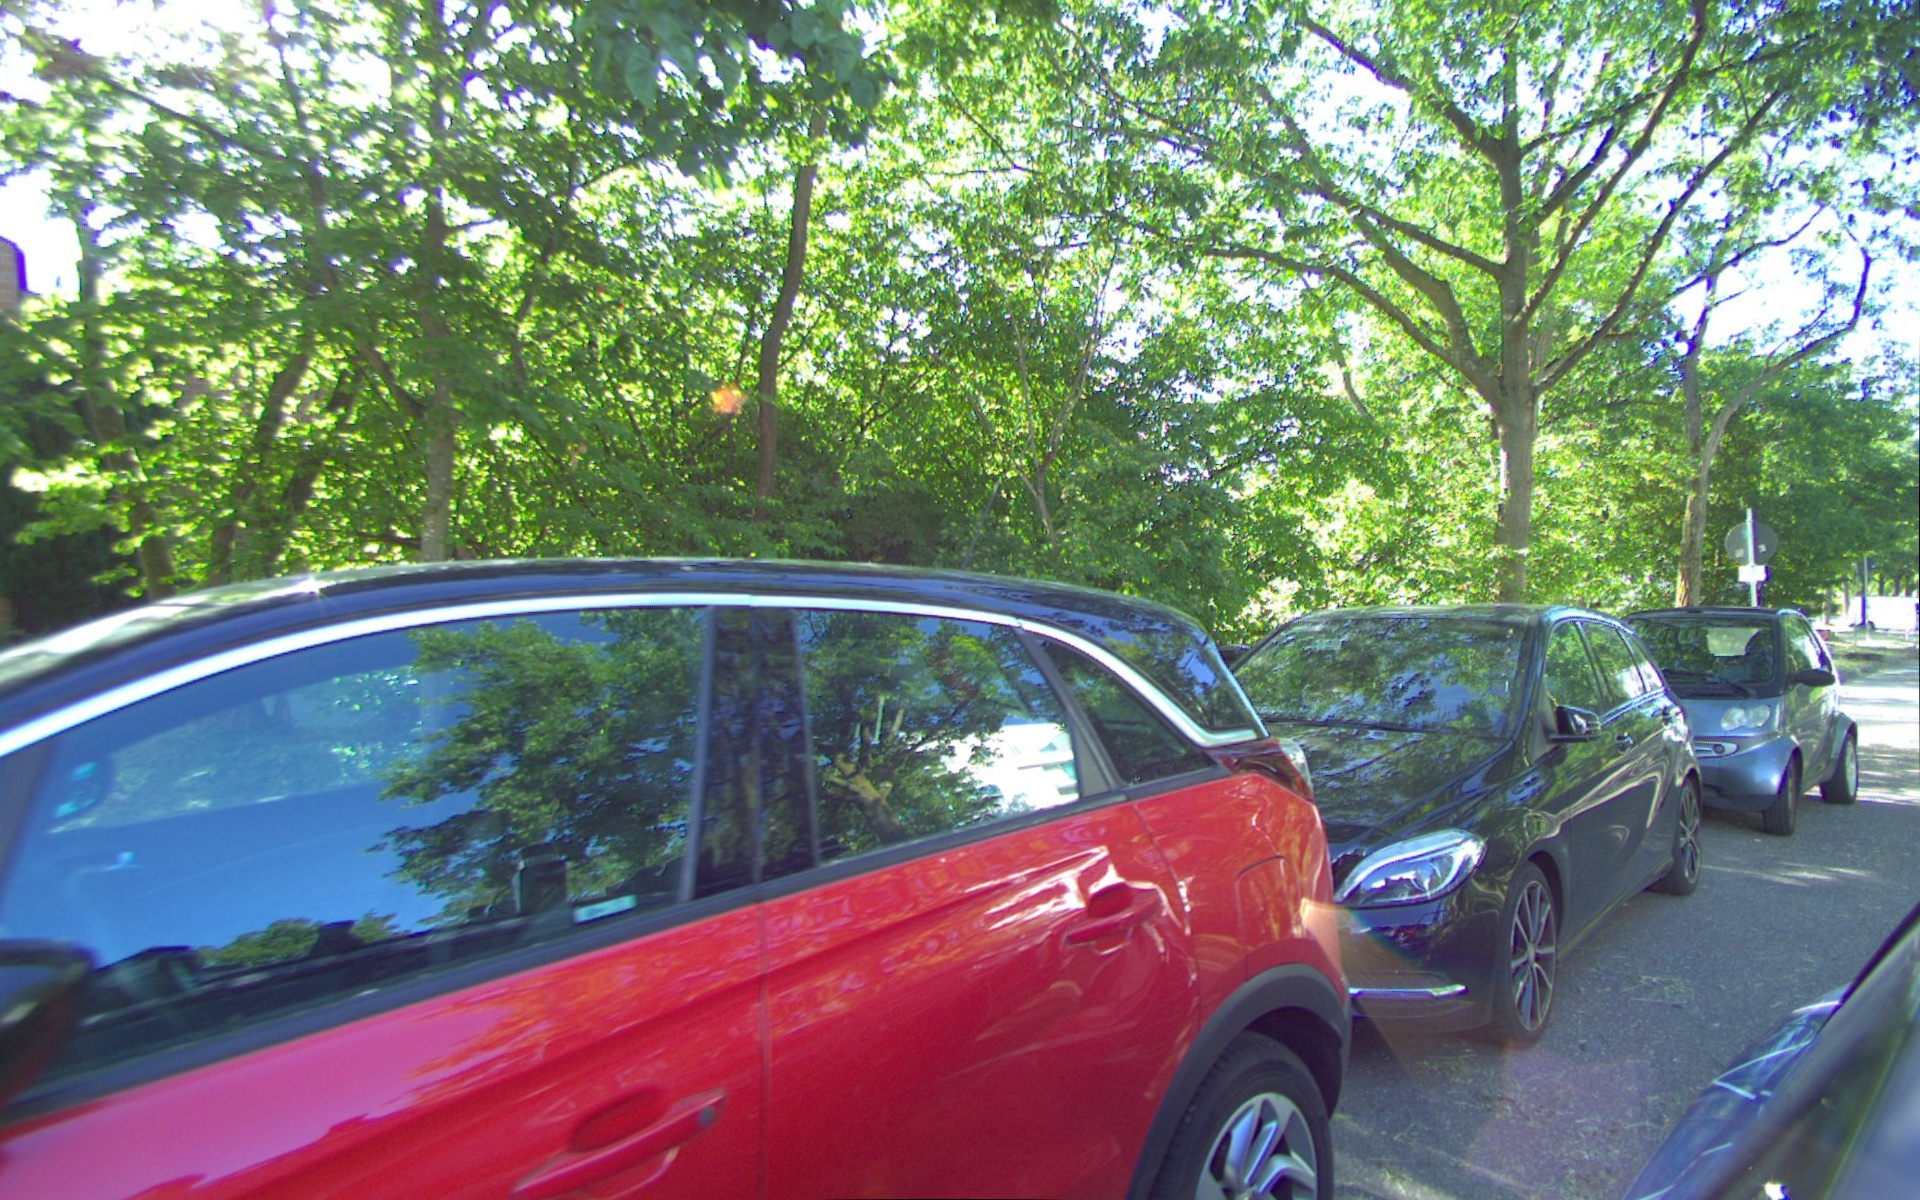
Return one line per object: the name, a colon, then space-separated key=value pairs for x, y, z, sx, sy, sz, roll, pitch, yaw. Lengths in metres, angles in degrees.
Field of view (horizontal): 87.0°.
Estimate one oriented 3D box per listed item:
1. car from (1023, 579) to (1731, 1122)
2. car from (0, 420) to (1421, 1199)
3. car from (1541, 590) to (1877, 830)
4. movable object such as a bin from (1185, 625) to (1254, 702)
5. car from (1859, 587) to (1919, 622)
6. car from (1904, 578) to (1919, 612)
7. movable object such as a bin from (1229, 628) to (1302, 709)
car: x=2.304 y=0.719 z=4.916 sx=4.081 sy=1.528 sz=1.713 roll=0 pitch=-1 yaw=-44
car: x=-0.996 y=0.665 z=1.684 sx=3.994 sy=1.594 sz=1.681 roll=0 pitch=-1 yaw=-41
car: x=5.881 y=0.713 z=7.895 sx=2.628 sy=1.529 sz=1.497 roll=0 pitch=-1 yaw=-39
movable object such as a bin: x=3.386 y=0.813 z=13.231 sx=0.454 sy=0.891 sz=0.728 roll=-7 pitch=6 yaw=-35
car: x=56.456 y=0.288 z=59.439 sx=1.966 sy=2.030 sz=5.262 roll=1 pitch=1 yaw=-43
car: x=75.934 y=-0.357 z=78.123 sx=4.401 sy=2.578 sz=1.858 roll=2 pitch=1 yaw=45
movable object such as a bin: x=3.804 y=0.839 z=12.621 sx=0.454 sy=0.891 sz=0.728 roll=-7 pitch=6 yaw=-35
